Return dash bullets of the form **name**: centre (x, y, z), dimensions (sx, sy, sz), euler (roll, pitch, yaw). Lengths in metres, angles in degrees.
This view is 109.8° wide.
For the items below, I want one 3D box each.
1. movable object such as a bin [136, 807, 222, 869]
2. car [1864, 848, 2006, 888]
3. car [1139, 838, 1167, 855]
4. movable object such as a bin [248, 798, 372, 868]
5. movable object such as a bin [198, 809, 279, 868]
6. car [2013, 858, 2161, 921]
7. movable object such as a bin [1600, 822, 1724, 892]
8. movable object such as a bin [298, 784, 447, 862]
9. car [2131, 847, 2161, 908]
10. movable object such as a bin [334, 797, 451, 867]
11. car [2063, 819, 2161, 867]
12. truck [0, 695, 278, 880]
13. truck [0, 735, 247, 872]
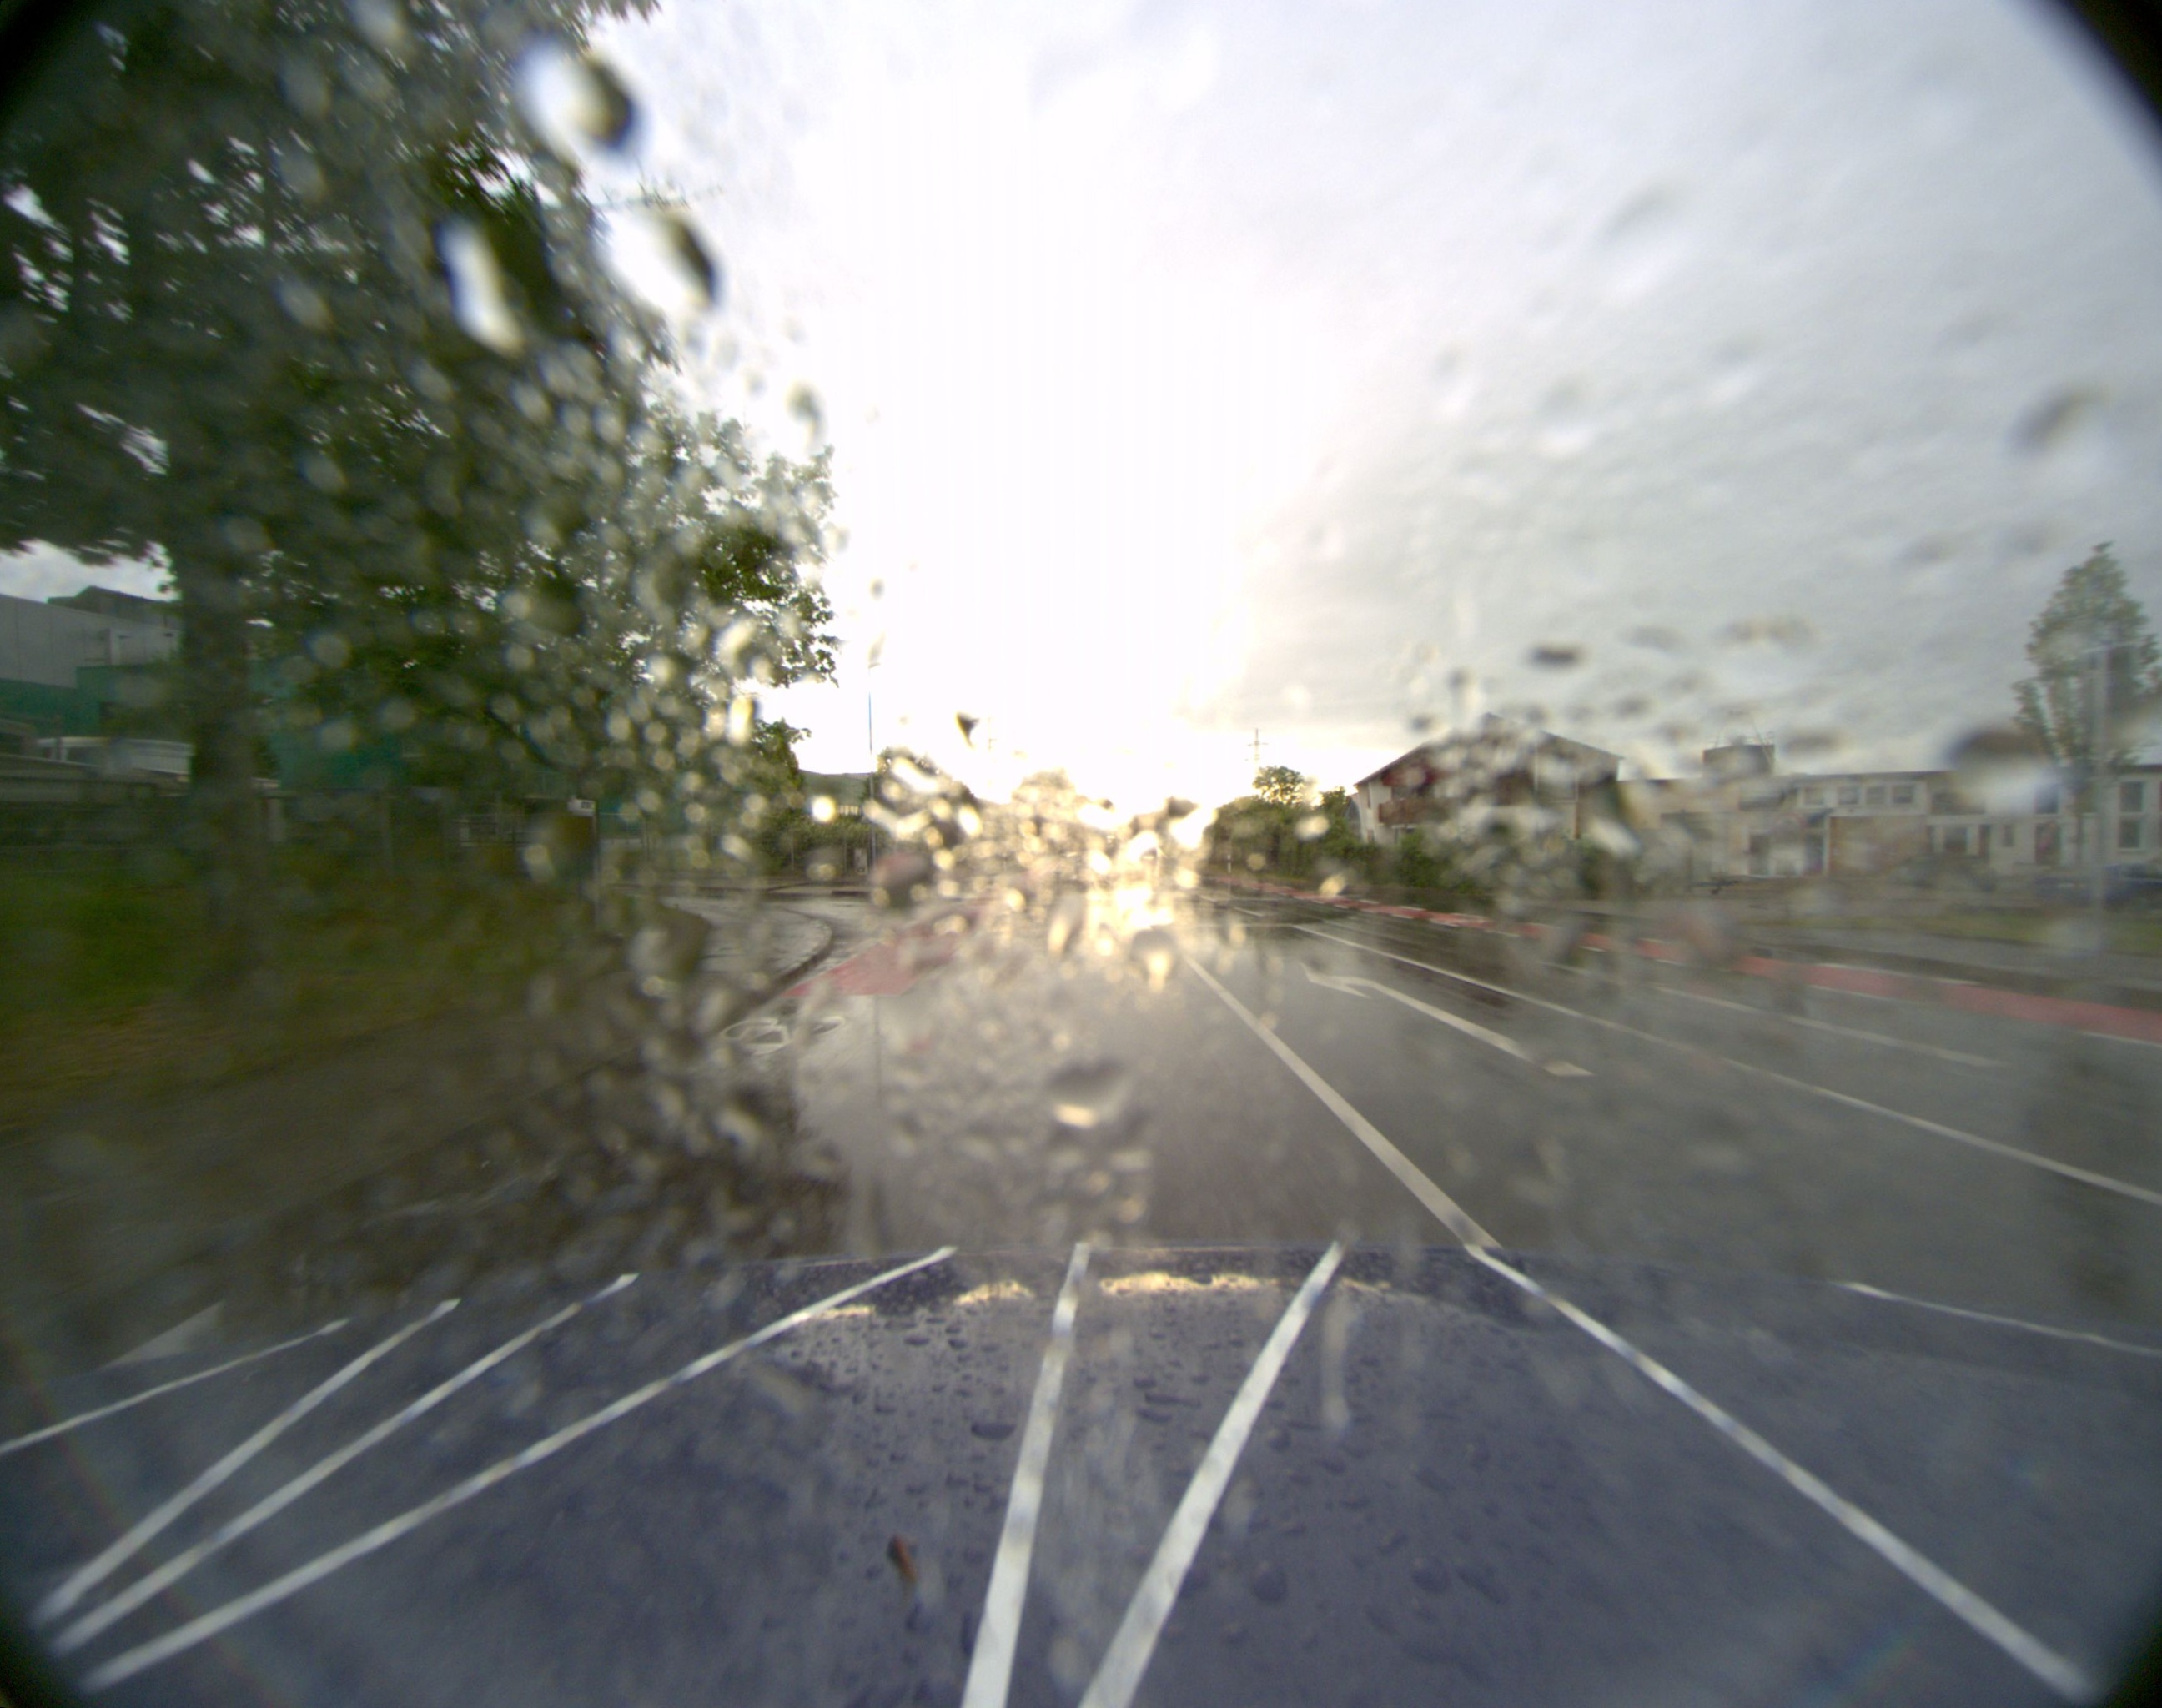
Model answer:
- **movable object such as a bin**: centre (-12.154, -0.214, 10.252), dimensions (0.539, 0.797, 0.523), euler (1, 1, -1)
- **car**: centre (36.573, 0.545, 32.711), dimensions (1.997, 1.547, 4.003), euler (2, 1, 11)
- **car**: centre (8.147, -0.828, 86.563), dimensions (2.360, 1.805, 6.876), euler (1, 0, -1)
- **movable object such as a bin**: centre (-12.185, -0.331, 12.047), dimensions (0.883, 1.036, 1.053), euler (2, 1, 1)
- **movable object such as a bin**: centre (-12.160, -0.225, 10.983), dimensions (0.539, 0.813, 0.566), euler (1, 1, -1)
- **car**: centre (28.878, 0.971, 21.154), dimensions (4.449, 1.601, 1.955), euler (1, 1, -14)
- **movable object such as a bin**: centre (22.441, 0.081, 29.460), dimensions (3.335, 2.542, 1.739), euler (2, 1, 6)
- **movable object such as a bin**: centre (-14.587, -0.617, 15.735), dimensions (1.860, 1.492, 1.309), euler (1, 1, -15)
- **car**: centre (34.891, 0.767, 22.955), dimensions (4.472, 1.824, 2.078), euler (1, 1, -13)
- **movable object such as a bin**: centre (-12.122, -0.384, 13.430), dimensions (1.026, 1.155, 1.142), euler (1, 1, -1)
- **car**: centre (44.058, -0.410, 31.331), dimensions (1.996, 1.894, 4.414), euler (2, 1, 13)
- **truck**: centre (-14.996, -0.899, 10.708), dimensions (4.834, 2.328, 2.249), euler (1, 1, -3)
- **truck**: centre (-18.798, -0.884, 13.450), dimensions (5.649, 2.201, 2.112), euler (1, 1, -1)
